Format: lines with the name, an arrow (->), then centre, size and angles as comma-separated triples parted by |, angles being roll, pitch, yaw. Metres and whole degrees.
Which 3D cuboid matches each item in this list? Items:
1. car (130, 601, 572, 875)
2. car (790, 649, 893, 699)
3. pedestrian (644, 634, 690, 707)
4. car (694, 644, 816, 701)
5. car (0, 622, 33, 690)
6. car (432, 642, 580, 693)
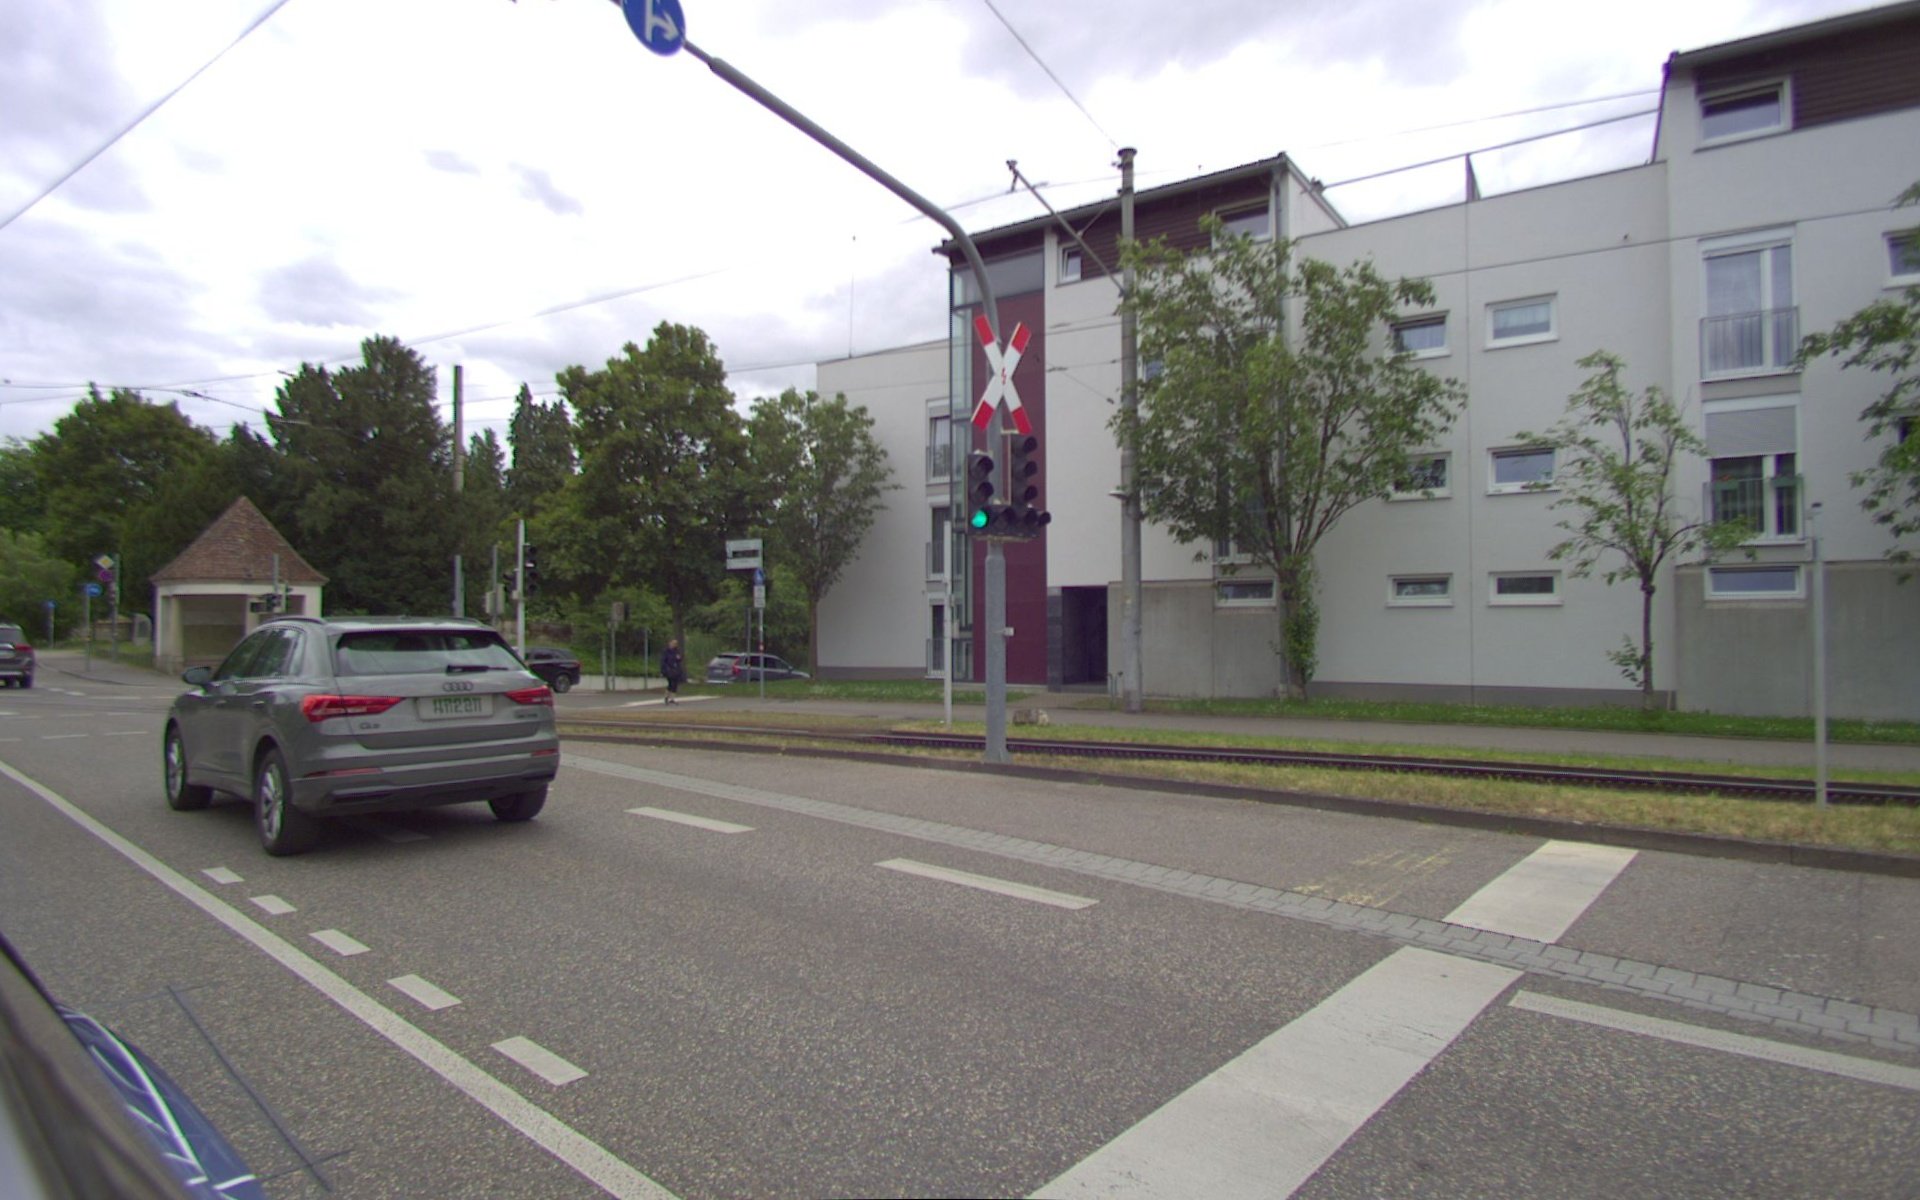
car -> -4.878, 0.850, 7.851 | 4.181, 1.571, 1.721 | -1, -3, 41
car -> -5.077, 3.198, 43.896 | 1.996, 2.029, 4.416 | -1, -4, 35
pedestrian -> -6.858, 1.643, 23.681 | 0.817, 1.657, 0.669 | -4, -5, 36
car -> -7.924, 2.853, 39.487 | 1.996, 2.029, 4.416 | -1, -6, 35
car -> -25.902, 1.463, 26.546 | 4.486, 1.682, 1.811 | -1, 1, 41
car -> -16.242, 2.450, 36.434 | 1.961, 1.682, 4.436 | -1, -5, 34
